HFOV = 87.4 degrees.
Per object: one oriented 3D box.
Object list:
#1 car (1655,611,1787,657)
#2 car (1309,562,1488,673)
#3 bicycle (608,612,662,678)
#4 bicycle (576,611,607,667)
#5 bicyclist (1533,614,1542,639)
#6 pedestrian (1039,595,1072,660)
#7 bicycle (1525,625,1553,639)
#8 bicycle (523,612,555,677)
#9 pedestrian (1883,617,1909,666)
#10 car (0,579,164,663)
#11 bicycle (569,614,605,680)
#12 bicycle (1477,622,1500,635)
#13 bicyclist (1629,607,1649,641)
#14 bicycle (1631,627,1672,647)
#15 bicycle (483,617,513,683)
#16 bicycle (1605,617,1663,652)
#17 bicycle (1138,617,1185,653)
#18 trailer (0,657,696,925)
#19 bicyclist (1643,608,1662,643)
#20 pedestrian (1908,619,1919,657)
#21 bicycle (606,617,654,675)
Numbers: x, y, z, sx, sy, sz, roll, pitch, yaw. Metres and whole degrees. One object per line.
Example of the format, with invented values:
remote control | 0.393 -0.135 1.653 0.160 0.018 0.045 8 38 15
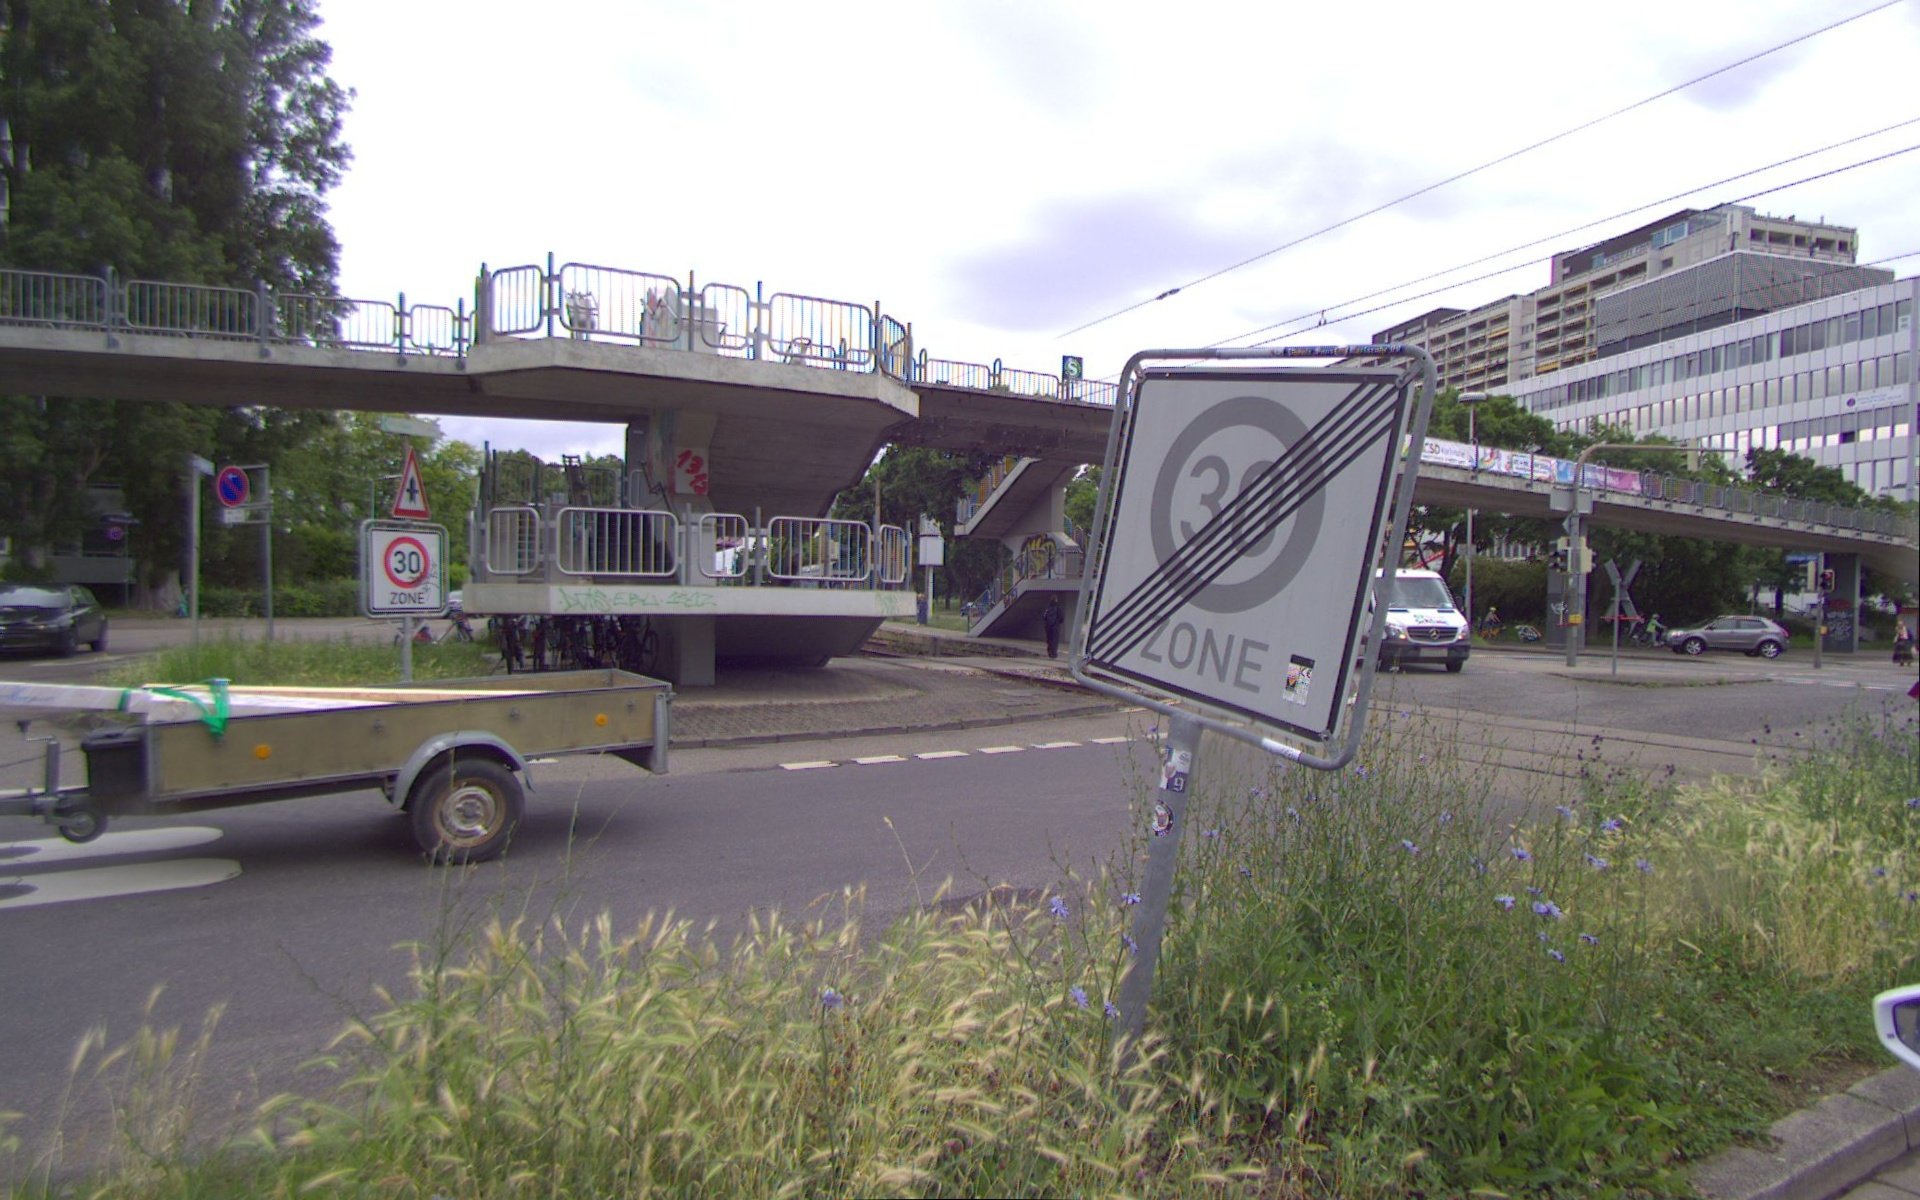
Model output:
car | 32.211 1.424 42.622 4.125 1.758 1.629 1 0 19
car | 10.272 0.376 24.054 2.098 2.323 5.208 -1 0 2
bicycle | -4.819 0.649 14.969 0.387 0.897 1.741 1 0 -6
bicycle | -6.405 0.653 17.430 0.389 0.897 1.632 1 0 -24
bicyclist | 30.624 1.407 53.268 0.376 1.321 0.278 1 1 25
pedestrian | 2.516 0.709 26.408 0.593 1.664 0.659 1 1 -25
bicycle | 30.680 1.679 53.235 1.273 0.701 0.290 1 1 25
bicycle | -6.371 0.641 15.175 0.389 0.897 1.632 1 0 -24
pedestrian | 33.336 1.465 35.764 0.402 1.714 0.612 1 1 -43
car | -17.808 0.344 19.733 1.774 1.476 4.525 1 0 -16
bicycle | -5.645 0.685 15.181 0.389 0.897 1.632 1 0 -24
bicycle | 29.207 1.580 55.499 0.263 0.677 1.138 1 1 -37
bicyclist | 33.914 1.205 50.191 0.736 1.647 0.527 2 0 27
bicycle | 33.413 1.778 48.503 2.494 0.938 0.628 1 0 -31
bicycle | -6.958 0.724 15.146 0.389 0.897 1.632 1 0 -24
bicycle | 33.718 1.712 50.300 2.322 1.647 0.527 2 0 27
bicycle | 5.724 0.975 28.657 0.368 0.934 2.029 1 0 -18
trailer | -3.435 0.898 5.707 3.430 0.999 1.556 1 0 -35
bicyclist | 33.475 1.243 48.566 0.525 1.666 0.562 2 0 -29
pedestrian | 41.470 1.650 43.478 0.572 1.600 0.777 2 0 42
bicycle | -5.635 0.766 17.106 0.390 0.897 1.628 1 0 -32
